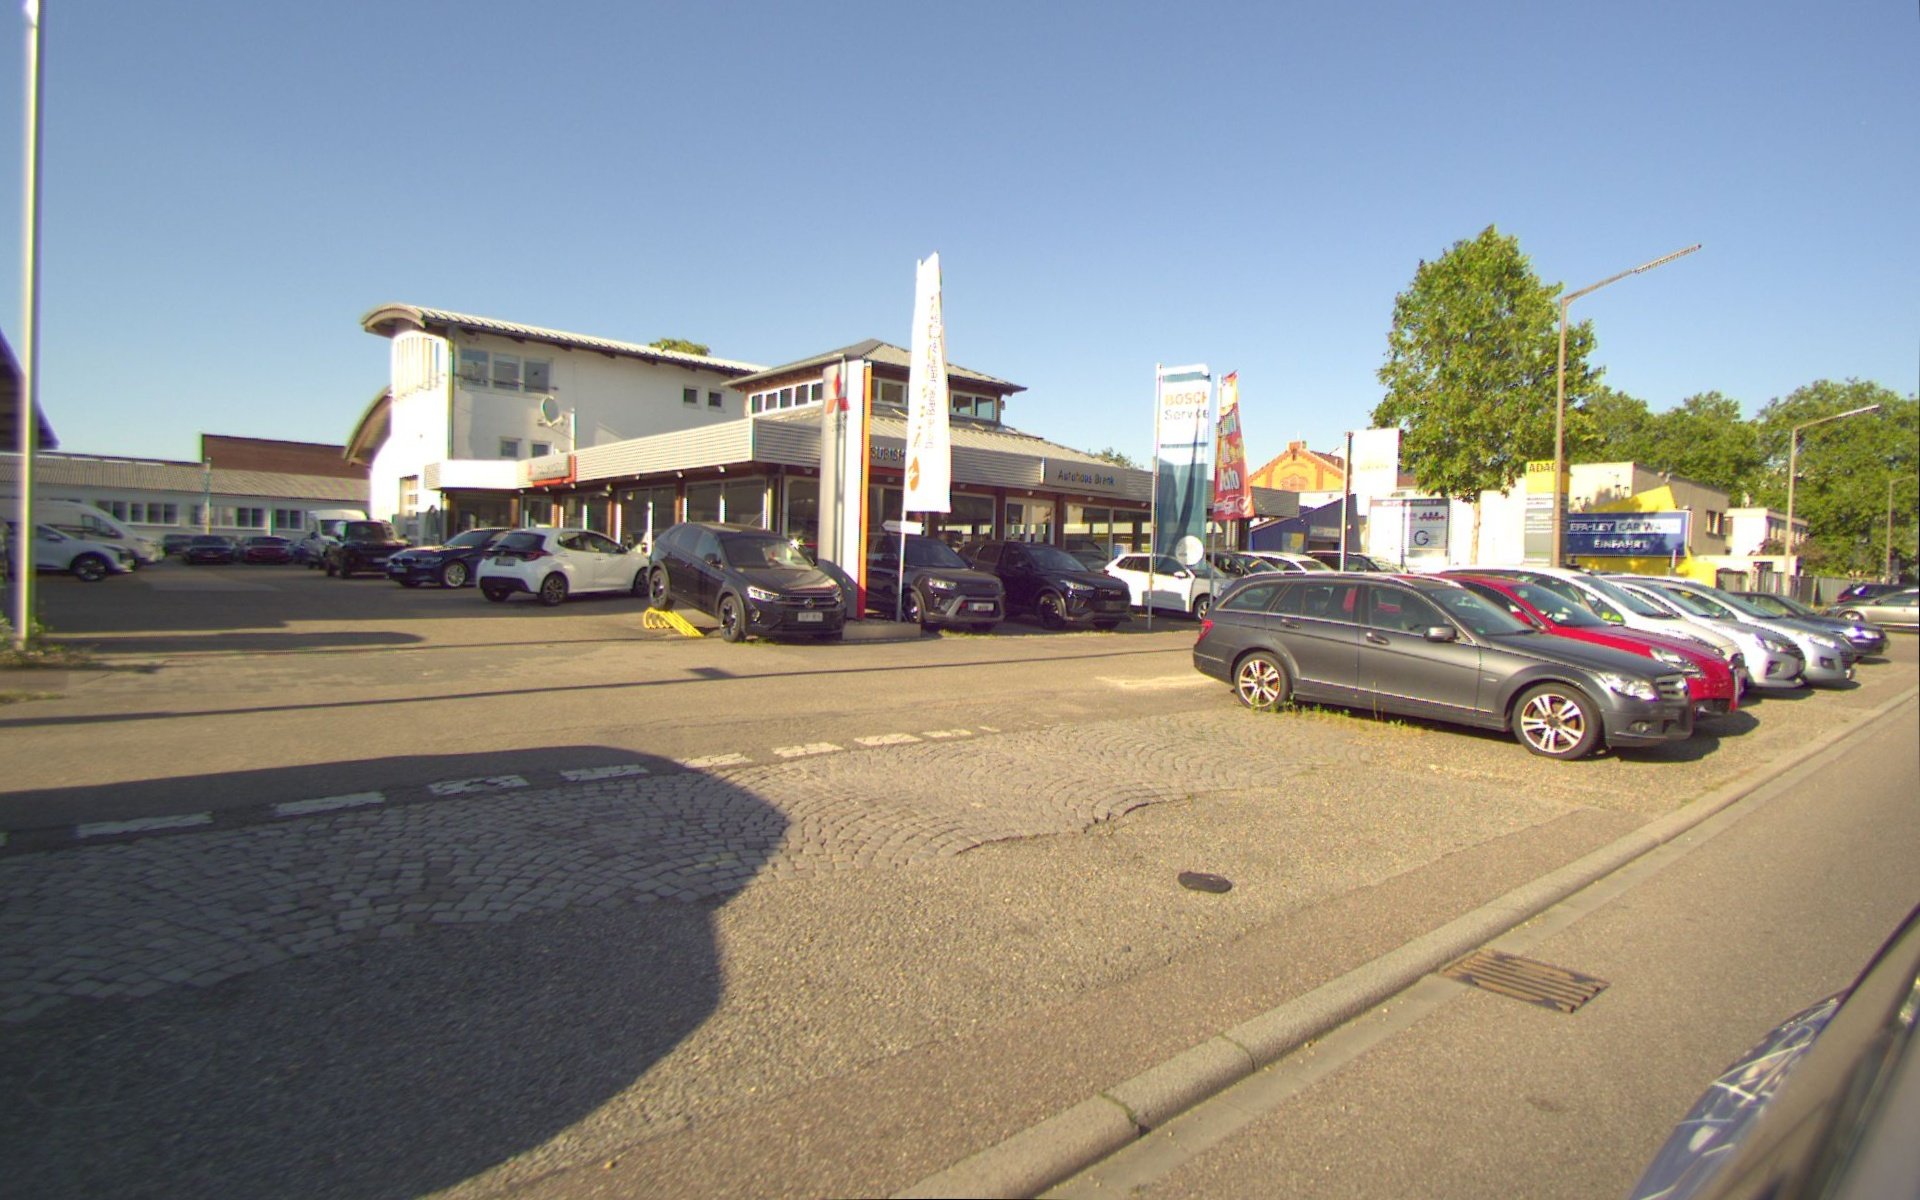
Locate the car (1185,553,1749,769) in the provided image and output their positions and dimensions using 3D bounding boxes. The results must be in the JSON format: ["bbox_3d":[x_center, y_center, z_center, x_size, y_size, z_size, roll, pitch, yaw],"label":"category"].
[{"bbox_3d":[4.699,0.373,9.941,2.098,1.453,4.447,0,4,-41],"label":"car"}]

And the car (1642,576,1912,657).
[{"bbox_3d":[16.759,0.266,20.934,1.751,1.311,4.000,0,4,-38],"label":"car"}]

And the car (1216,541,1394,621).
[{"bbox_3d":[9.232,-0.524,27.291,2.163,1.922,3.941,3,0,-41],"label":"car"}]

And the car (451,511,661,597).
[{"bbox_3d":[-8.264,-0.911,21.074,1.977,1.601,3.848,1,1,22],"label":"car"}]

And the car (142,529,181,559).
[{"bbox_3d":[-44.350,-3.106,56.252,1.657,1.544,3.874,-1,2,-38],"label":"car"}]

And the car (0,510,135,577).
[{"bbox_3d":[-24.594,-1.469,27.000,3.927,1.705,1.999,-1,2,-38],"label":"car"}]

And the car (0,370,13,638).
[{"bbox_3d":[-12.295,-0.943,8.649,6.031,2.658,1.997,-1,1,-41],"label":"car"}]

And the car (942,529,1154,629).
[{"bbox_3d":[1.685,-0.501,20.471,1.965,1.717,3.997,-1,5,-40],"label":"car"}]

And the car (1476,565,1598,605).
[{"bbox_3d":[23.590,-0.632,41.455,1.968,1.538,3.990,-1,2,-44],"label":"car"}]

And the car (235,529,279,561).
[{"bbox_3d":[-35.893,-2.774,51.642,1.657,1.544,3.874,-1,2,-38],"label":"car"}]

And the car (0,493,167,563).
[{"bbox_3d":[-33.519,-2.660,38.062,5.752,2.435,1.997,-1,2,-41],"label":"car"}]

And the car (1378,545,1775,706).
[{"bbox_3d":[7.900,0.222,13.236,1.853,1.761,4.112,-1,2,-44],"label":"car"}]

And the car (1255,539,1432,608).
[{"bbox_3d":[11.428,-0.804,30.406,2.164,1.922,4.504,-1,2,-41],"label":"car"}]

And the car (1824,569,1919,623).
[{"bbox_3d":[32.909,-0.071,34.730,1.965,1.632,4.613,-1,6,-41],"label":"car"}]

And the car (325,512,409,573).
[{"bbox_3d":[-17.459,-1.629,29.733,1.657,1.640,3.874,-1,2,-38],"label":"car"}]

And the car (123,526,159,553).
[{"bbox_3d":[-51.737,-3.785,63.960,1.657,1.544,3.874,-1,2,-38],"label":"car"}]

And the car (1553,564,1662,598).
[{"bbox_3d":[30.363,-0.902,47.525,1.968,1.515,3.990,-1,2,-44],"label":"car"}]

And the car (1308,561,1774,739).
[{"bbox_3d":[6.298,0.402,11.332,4.243,1.625,1.718,2,2,45],"label":"car"}]

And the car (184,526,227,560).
[{"bbox_3d":[-37.312,-2.786,50.022,1.657,1.544,3.874,-1,2,-38],"label":"car"}]

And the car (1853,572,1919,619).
[{"bbox_3d":[37.056,-0.071,38.210,1.964,1.598,4.616,-1,6,-38],"label":"car"}]

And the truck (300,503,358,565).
[{"bbox_3d":[-27.017,-2.756,43.274,1.657,2.437,4.478,0,1,-38],"label":"truck"}]

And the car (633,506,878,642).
[{"bbox_3d":[-3.305,-0.502,15.777,1.965,1.792,4.155,-1,5,-40],"label":"car"}]

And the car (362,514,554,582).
[{"bbox_3d":[-11.966,-1.194,24.401,1.977,1.486,3.848,1,1,22],"label":"car"}]

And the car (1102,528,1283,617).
[{"bbox_3d":[5.414,-0.701,23.900,1.756,1.921,3.910,-3,4,-40],"label":"car"}]

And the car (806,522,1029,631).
[{"bbox_3d":[-0.870,-0.497,18.336,1.965,1.679,3.997,-1,5,-40],"label":"car"}]

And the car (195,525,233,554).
[{"bbox_3d":[-42.747,-3.426,57.944,1.657,1.544,3.874,-1,2,-38],"label":"car"}]

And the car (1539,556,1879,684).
[{"bbox_3d":[11.629,0.201,15.895,1.837,1.607,3.992,-1,4,-44],"label":"car"}]

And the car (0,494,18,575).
[{"bbox_3d":[-22.117,-1.403,22.196,1.965,1.705,3.994,-1,2,-41],"label":"car"}]

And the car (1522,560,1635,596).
[{"bbox_3d":[27.632,-0.987,45.277,1.921,1.538,3.990,-1,2,-44],"label":"car"}]

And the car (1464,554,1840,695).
[{"bbox_3d":[9.806,0.219,14.565,2.025,1.637,4.113,-1,4,-44],"label":"car"}]

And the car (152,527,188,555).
[{"bbox_3d":[-47.439,-3.523,60.803,1.657,1.544,3.874,-1,2,-38],"label":"car"}]

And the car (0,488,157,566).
[{"bbox_3d":[-31.943,-2.522,35.564,5.752,2.553,1.997,-1,1,-41],"label":"car"}]

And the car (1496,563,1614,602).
[{"bbox_3d":[25.356,-0.770,43.188,1.968,1.615,3.990,-1,2,-44],"label":"car"}]

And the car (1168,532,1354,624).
[{"bbox_3d":[7.498,-0.601,25.425,2.163,1.920,3.810,1,5,-41],"label":"car"}]
